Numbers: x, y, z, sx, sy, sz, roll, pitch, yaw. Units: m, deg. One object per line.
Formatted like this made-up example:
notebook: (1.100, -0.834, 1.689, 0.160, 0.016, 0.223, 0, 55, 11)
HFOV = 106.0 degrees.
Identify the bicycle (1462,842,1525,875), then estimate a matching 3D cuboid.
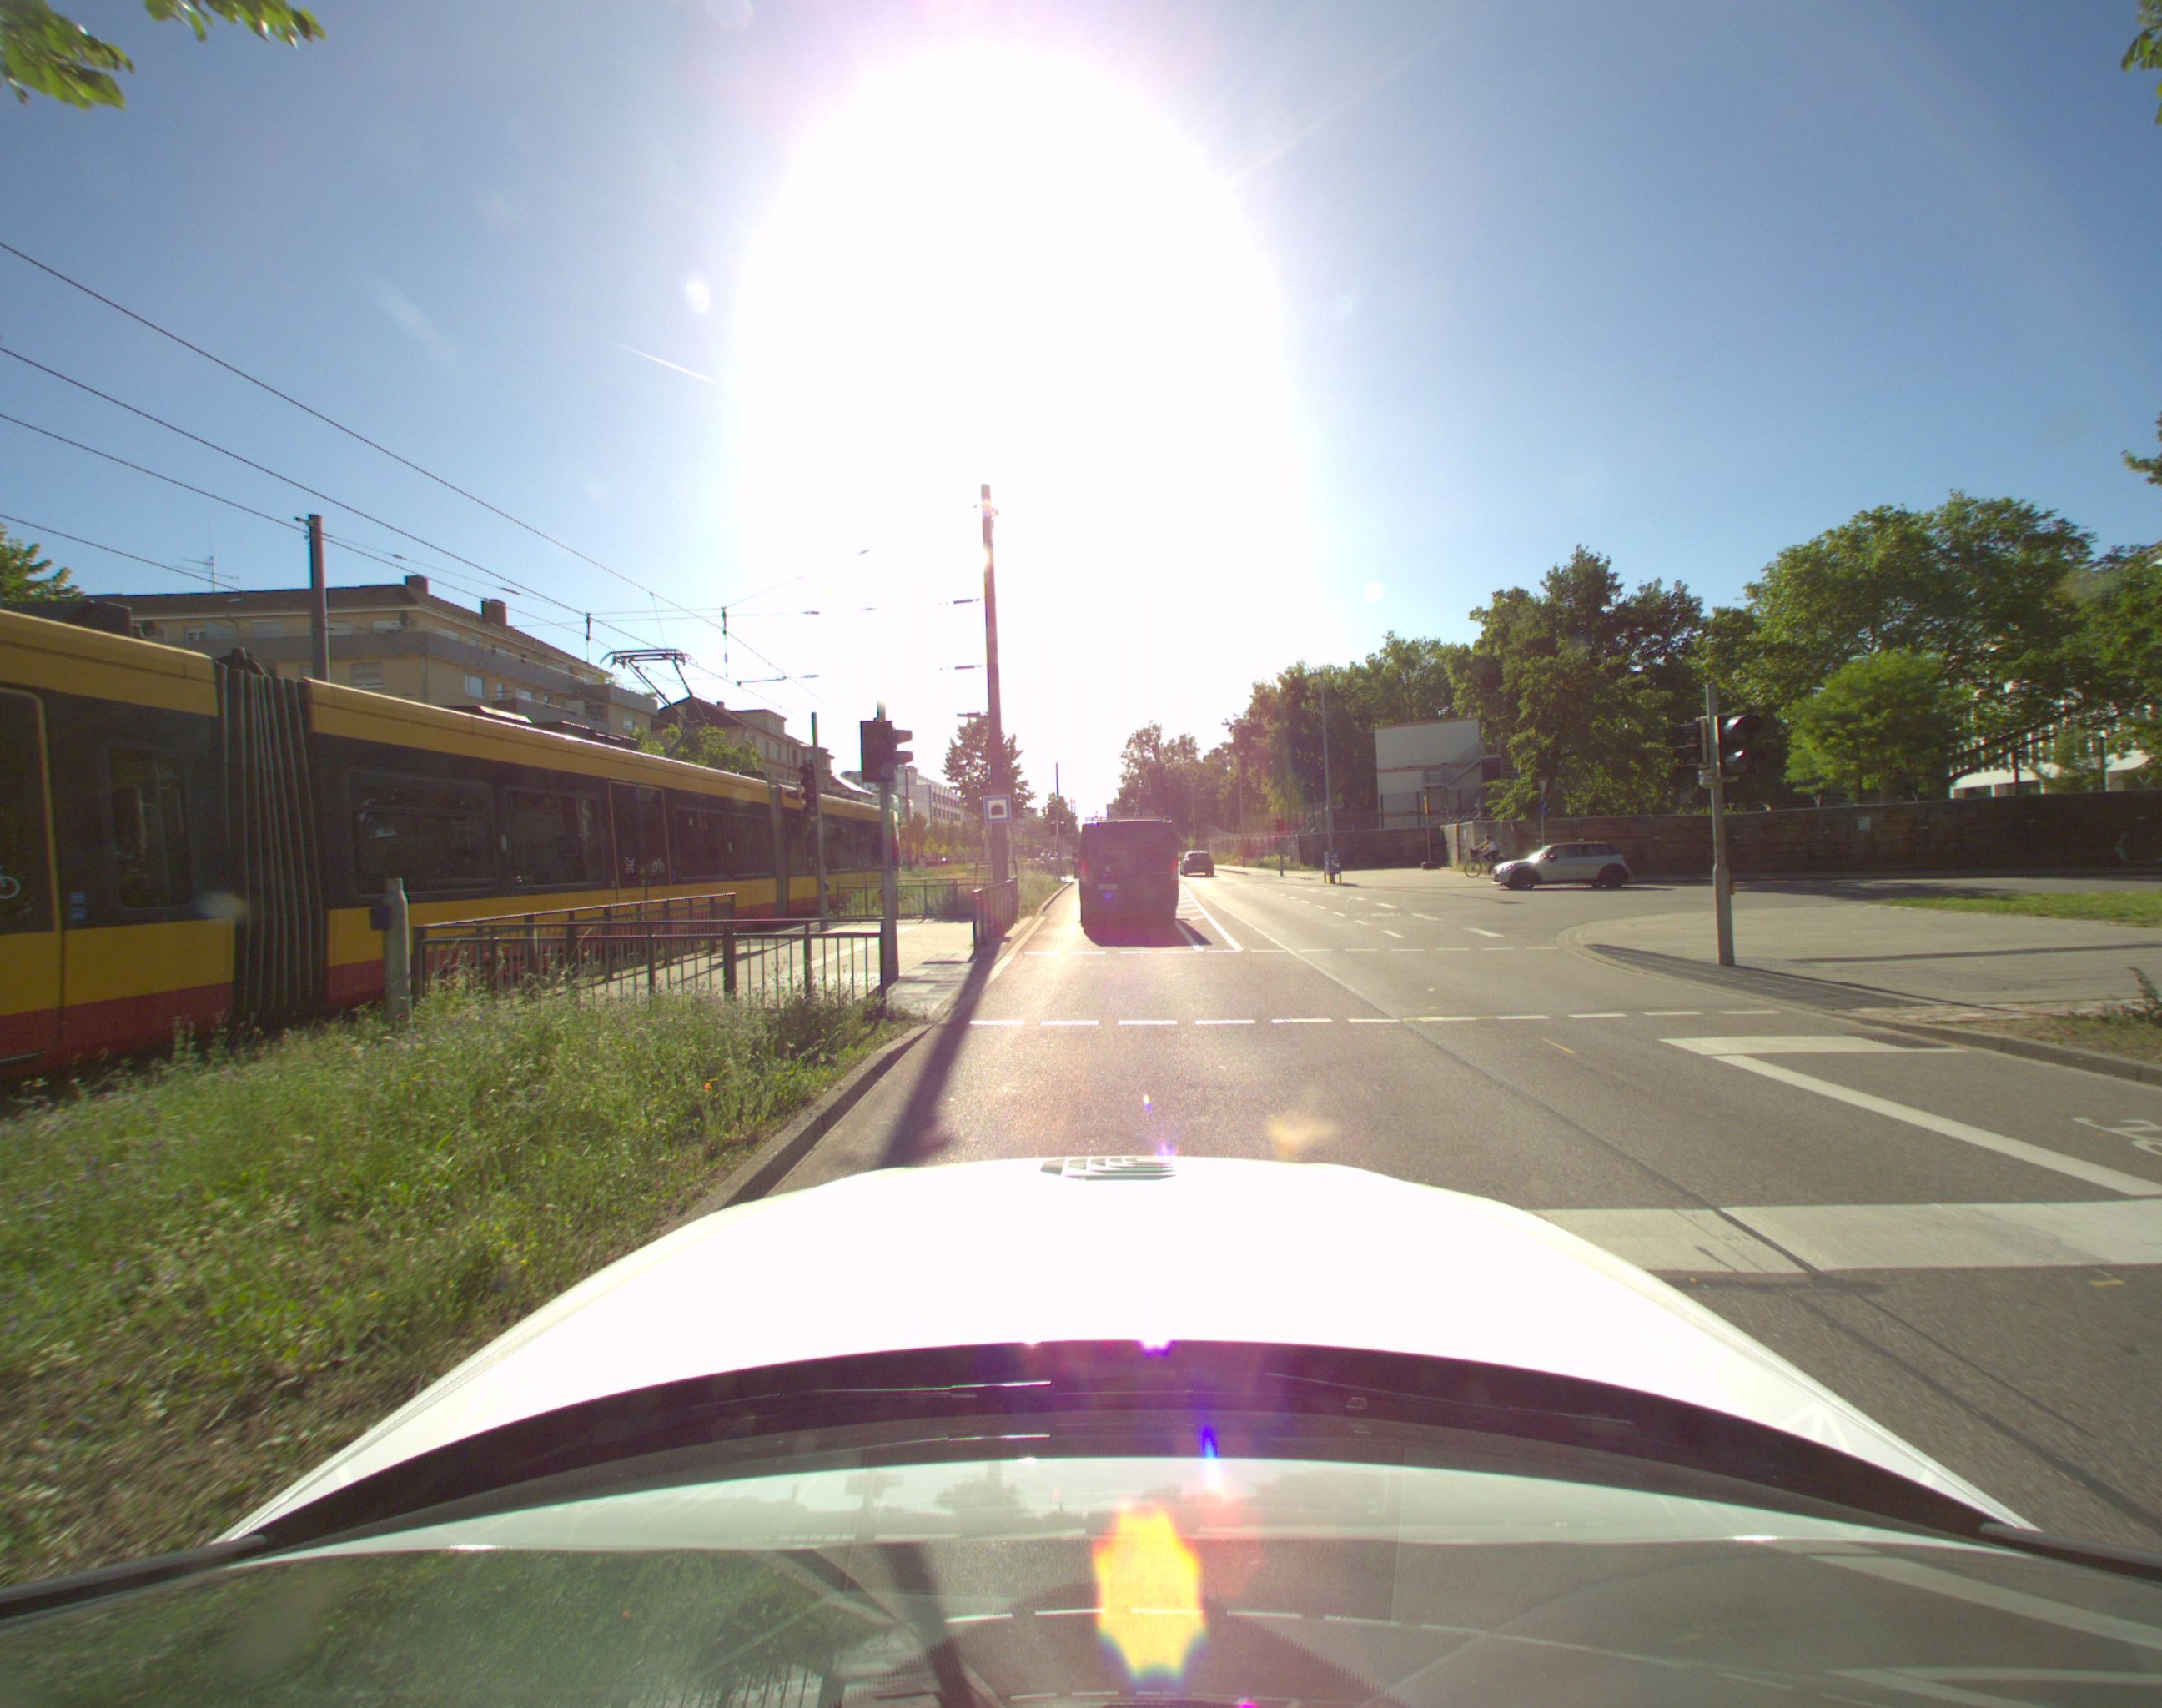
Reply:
bicycle: (16.041, 0.187, 31.693, 2.098, 1.112, 0.607, -4, 0, 25)

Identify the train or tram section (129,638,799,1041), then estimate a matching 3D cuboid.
train or tram section: (-7.656, -0.133, 13.171, 1.986, 3.669, 11.318, -1, 0, 1)

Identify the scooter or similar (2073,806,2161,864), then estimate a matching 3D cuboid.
scooter or similar: (31.262, -0.560, 24.287, 2.051, 1.684, 0.579, -2, 0, 27)

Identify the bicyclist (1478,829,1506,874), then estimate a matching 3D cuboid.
bicyclist: (15.981, -0.094, 31.662, 0.842, 1.673, 0.748, -3, 0, 25)

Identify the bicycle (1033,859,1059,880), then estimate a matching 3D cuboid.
bicycle: (-1.985, 0.865, 45.903, 0.736, 1.091, 2.066, -1, 0, -25)

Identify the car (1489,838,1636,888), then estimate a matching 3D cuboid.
car: (15.083, 0.289, 25.734, 3.670, 1.436, 1.781, -2, 0, 17)

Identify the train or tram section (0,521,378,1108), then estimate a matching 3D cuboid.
train or tram section: (-7.783, -0.236, 0.660, 1.987, 3.669, 14.152, -1, 0, 1)

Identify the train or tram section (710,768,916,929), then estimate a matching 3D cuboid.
train or tram section: (-7.365, -0.136, 24.647, 1.986, 3.669, 11.687, -1, 0, 2)

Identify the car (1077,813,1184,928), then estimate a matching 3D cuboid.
car: (1.014, 0.329, 18.233, 2.075, 2.249, 4.000, -1, 0, 1)

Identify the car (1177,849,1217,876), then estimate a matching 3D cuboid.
car: (6.748, 0.482, 47.721, 1.758, 1.462, 3.999, -1, 0, -1)

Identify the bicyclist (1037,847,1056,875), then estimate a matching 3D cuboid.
bicyclist: (-1.918, 0.405, 45.806, 0.830, 1.512, 0.724, -1, 0, -25)
